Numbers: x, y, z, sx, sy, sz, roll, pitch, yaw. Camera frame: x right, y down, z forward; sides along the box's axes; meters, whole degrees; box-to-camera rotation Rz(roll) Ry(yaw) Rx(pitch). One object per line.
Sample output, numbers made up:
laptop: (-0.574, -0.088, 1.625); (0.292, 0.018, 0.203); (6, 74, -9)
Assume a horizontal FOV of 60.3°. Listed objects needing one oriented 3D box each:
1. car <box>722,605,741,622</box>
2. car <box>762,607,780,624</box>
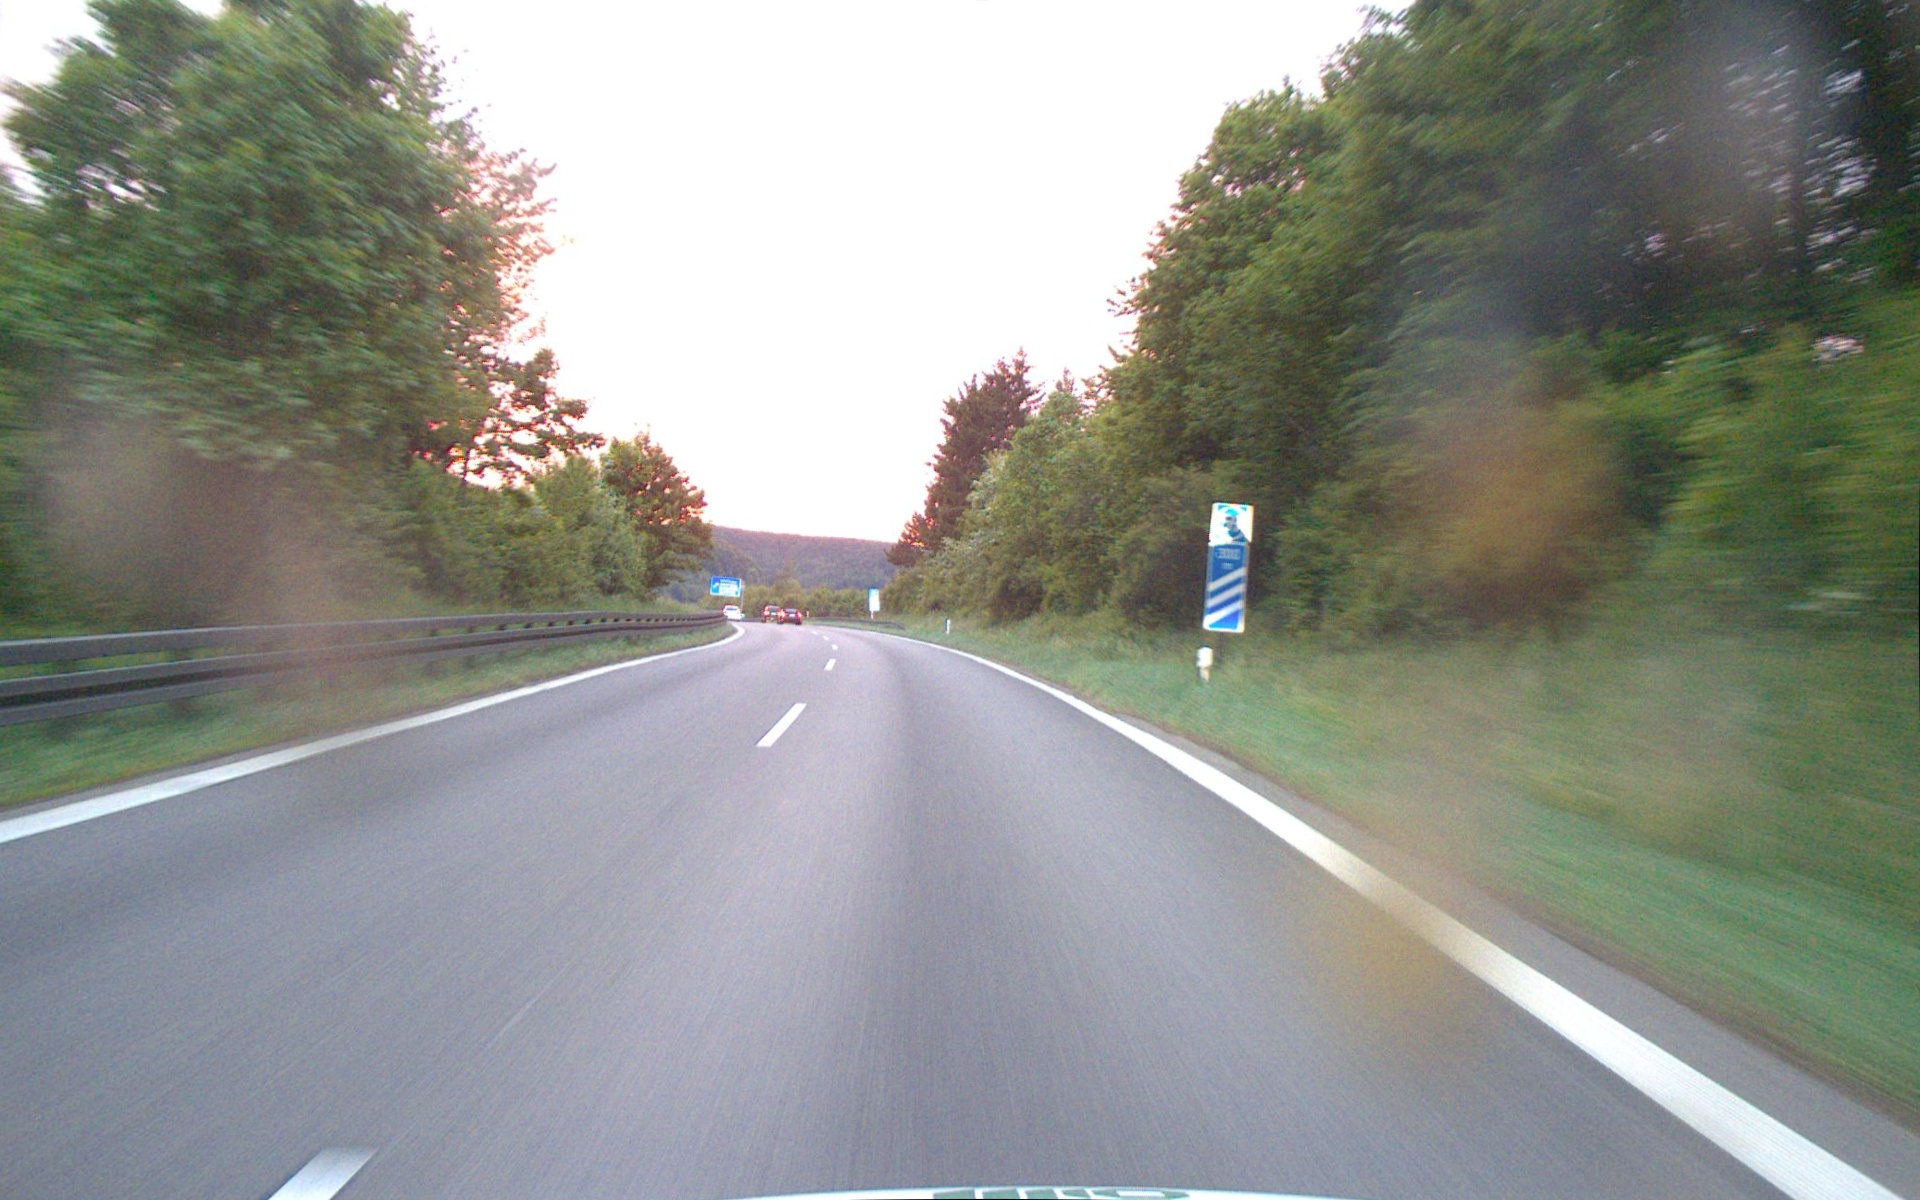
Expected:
car: (-22.457, 1.311, 162.510); (1.686, 1.528, 3.993); (3, -2, -7)
car: (-18.883, 1.504, 165.115); (1.686, 1.664, 3.993); (1, -1, -8)
